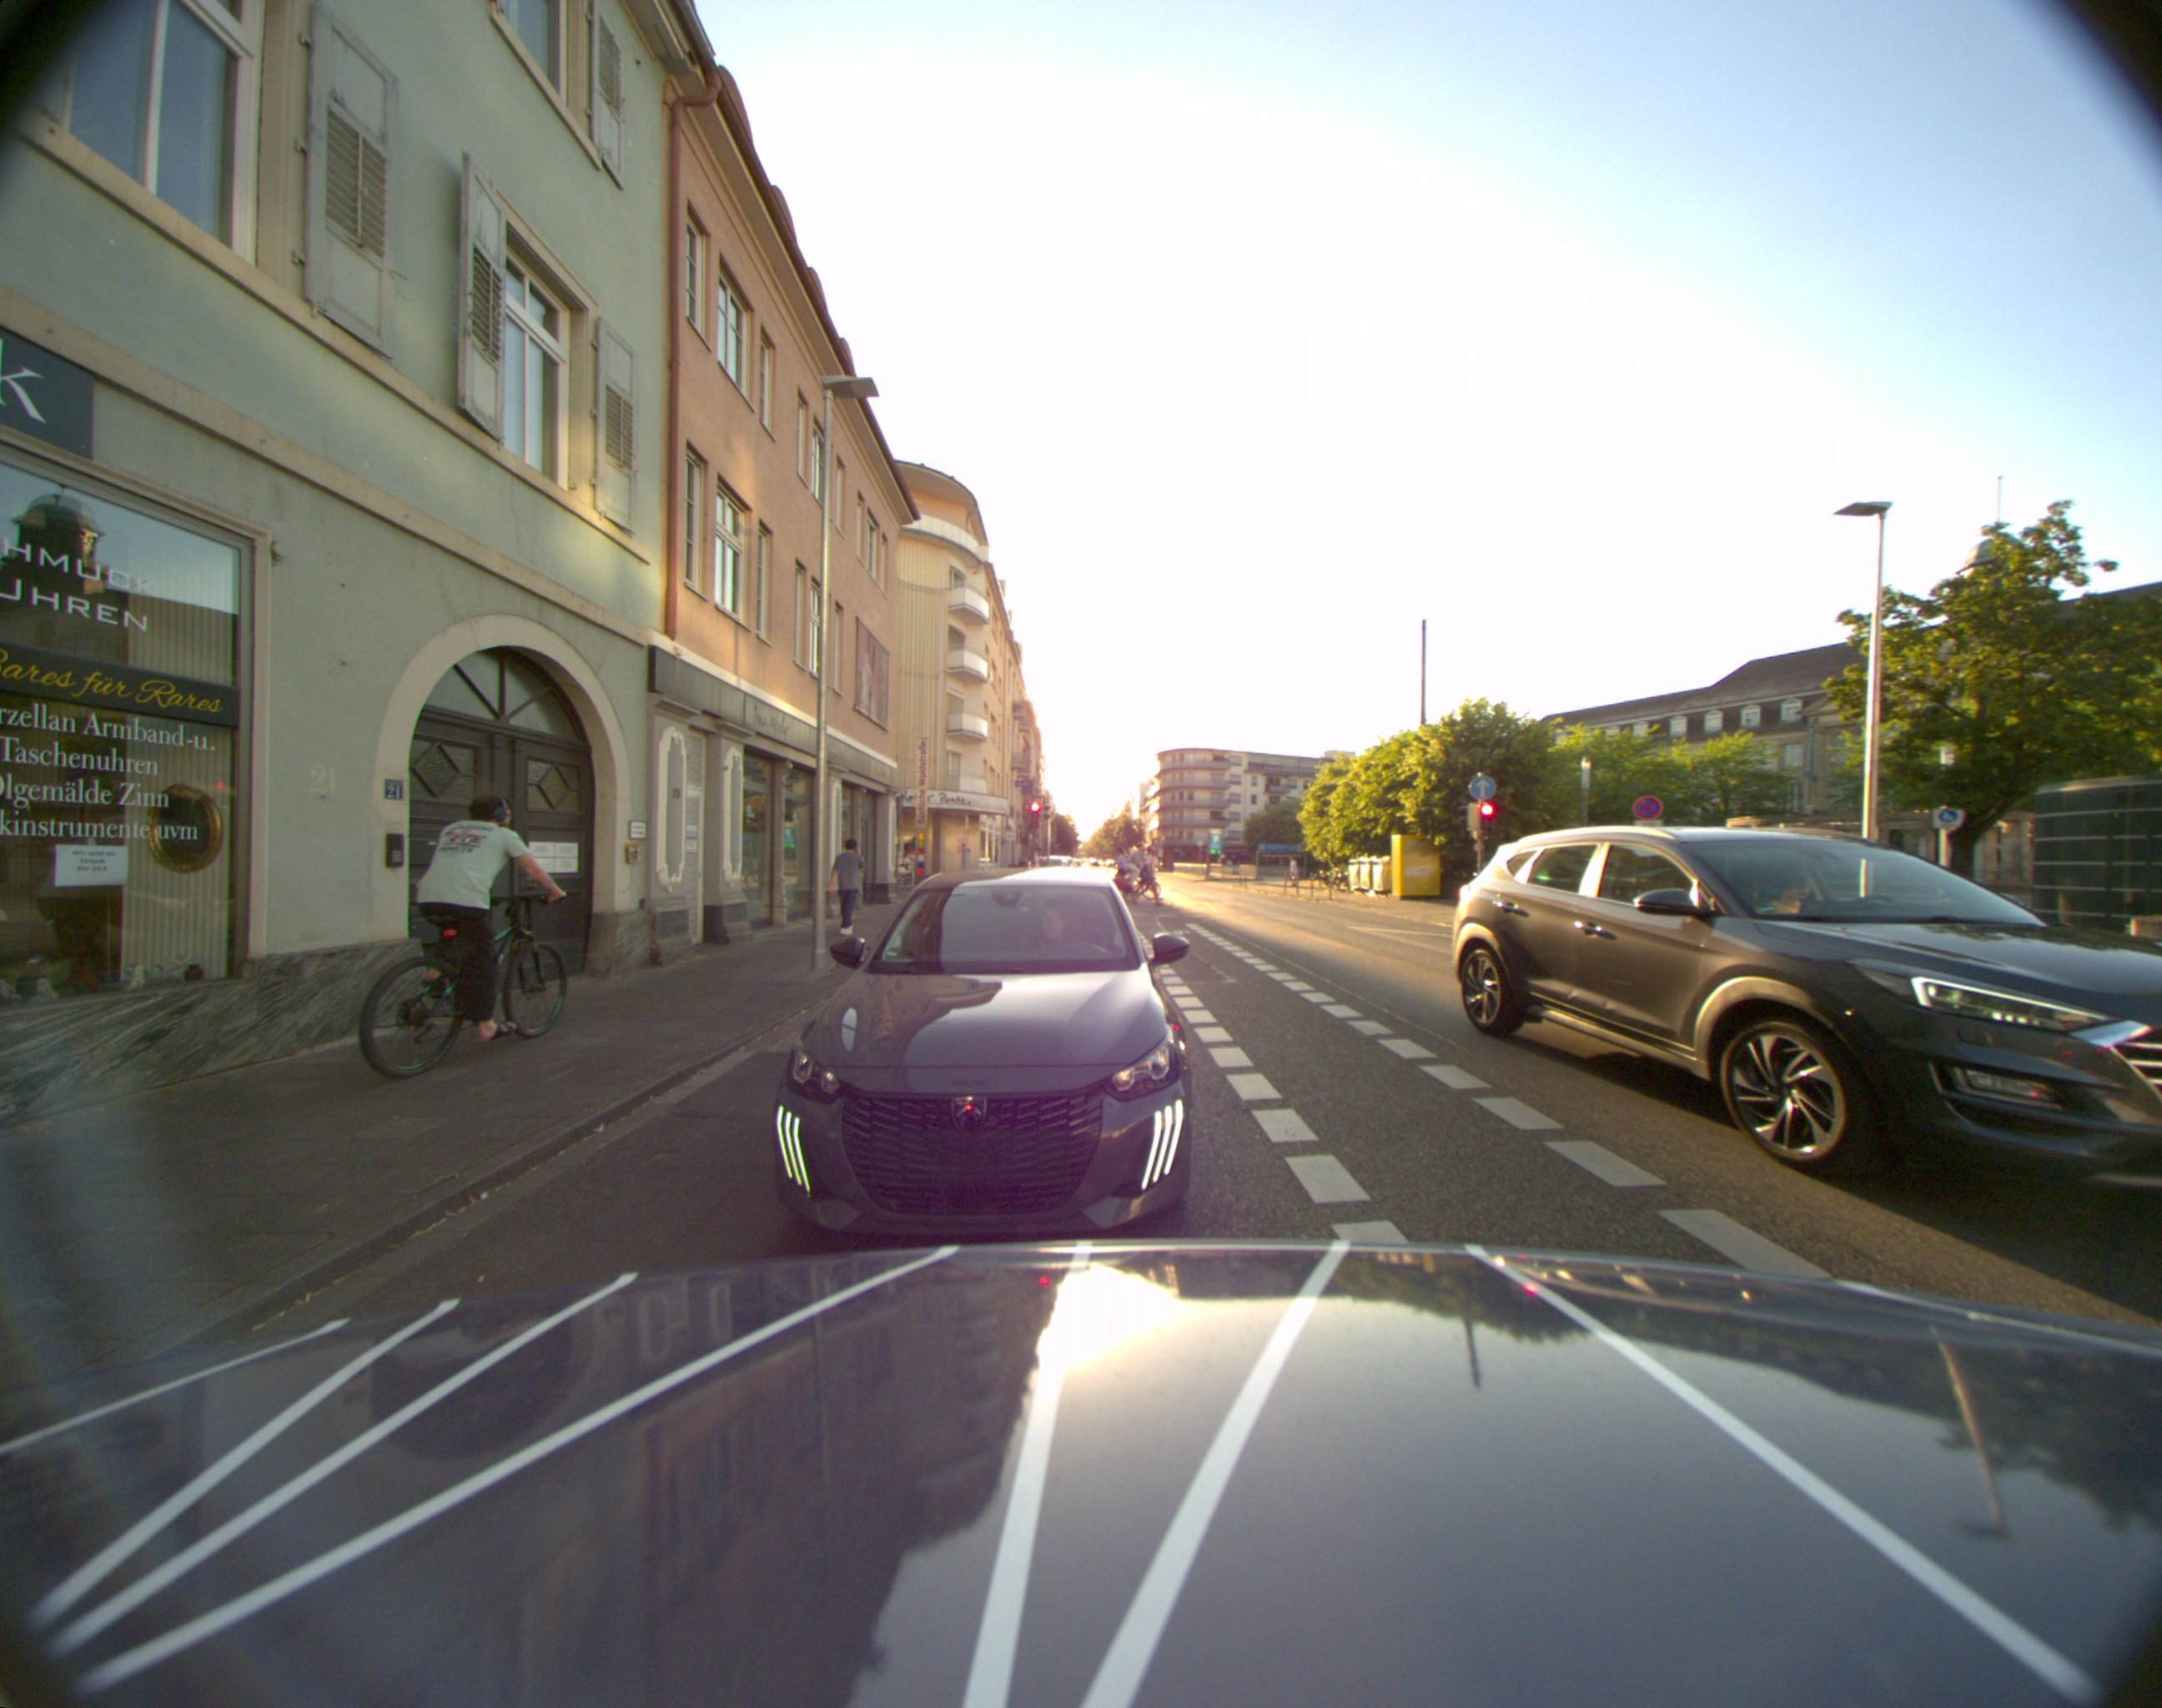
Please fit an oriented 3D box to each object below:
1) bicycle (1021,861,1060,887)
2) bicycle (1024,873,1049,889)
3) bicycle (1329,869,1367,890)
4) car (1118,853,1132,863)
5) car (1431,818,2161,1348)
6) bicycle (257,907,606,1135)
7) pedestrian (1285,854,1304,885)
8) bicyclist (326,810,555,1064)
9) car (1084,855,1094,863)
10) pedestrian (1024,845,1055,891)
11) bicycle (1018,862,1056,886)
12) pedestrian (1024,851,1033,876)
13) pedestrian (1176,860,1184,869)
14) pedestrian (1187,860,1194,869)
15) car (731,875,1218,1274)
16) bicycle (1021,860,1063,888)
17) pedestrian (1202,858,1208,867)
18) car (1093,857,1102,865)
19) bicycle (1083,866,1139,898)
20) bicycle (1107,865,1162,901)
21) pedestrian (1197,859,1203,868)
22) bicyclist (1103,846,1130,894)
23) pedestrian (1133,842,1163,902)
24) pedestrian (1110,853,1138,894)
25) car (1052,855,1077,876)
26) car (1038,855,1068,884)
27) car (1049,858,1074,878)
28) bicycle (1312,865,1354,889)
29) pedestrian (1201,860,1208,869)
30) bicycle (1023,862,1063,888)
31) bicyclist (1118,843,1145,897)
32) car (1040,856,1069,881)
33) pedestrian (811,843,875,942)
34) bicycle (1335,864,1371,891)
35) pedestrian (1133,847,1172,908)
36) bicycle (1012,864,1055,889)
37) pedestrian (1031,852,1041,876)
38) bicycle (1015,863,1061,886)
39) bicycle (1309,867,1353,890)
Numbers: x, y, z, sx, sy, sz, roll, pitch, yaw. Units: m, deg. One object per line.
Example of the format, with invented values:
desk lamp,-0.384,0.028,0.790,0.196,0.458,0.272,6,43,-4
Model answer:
bicycle,-1.946,0.962,36.488,1.788,1.166,0.622,2,0,-11
bicycle,-1.976,1.197,33.483,1.008,0.677,1.049,1,0,-9
bicycle,13.107,1.241,37.299,1.678,0.973,0.548,-1,0,-4
car,7.828,0.726,135.793,1.999,1.805,3.999,1,0,-2
car,4.115,0.763,4.638,1.877,1.679,4.450,2,0,0
bicycle,-4.109,0.969,5.059,0.692,1.100,1.896,1,0,0
pedestrian,12.662,0.901,44.993,0.950,1.806,0.827,1,0,22
bicyclist,-4.109,0.495,4.954,0.724,1.499,0.900,1,0,1
car,1.840,1.152,178.638,1.878,1.621,4.177,3,-1,-5
pedestrian,-1.680,0.560,30.747,0.828,1.806,0.869,0,1,-45
bicycle,-2.219,0.999,38.439,1.851,1.117,0.594,2,1,-11
pedestrian,-4.340,0.766,62.648,0.673,2.002,0.851,0,1,0
pedestrian,14.323,1.503,109.618,0.890,1.314,0.731,0,0,-27
pedestrian,15.818,1.525,109.824,0.887,1.185,0.733,0,0,9
car,-0.437,0.927,5.217,1.908,1.438,4.449,0,0,-1
bicycle,-1.808,0.926,35.108,1.849,1.232,0.639,1,0,-5
pedestrian,18.190,1.293,111.375,0.732,1.314,0.888,0,0,-2
car,3.548,1.511,163.348,1.790,1.458,3.956,2,0,-1
bicycle,1.111,1.033,27.984,1.917,1.111,0.706,1,0,17
bicycle,1.852,0.975,26.155,1.823,1.179,0.794,1,0,9
pedestrian,17.436,1.397,111.302,0.732,1.314,0.889,0,0,-1
bicyclist,1.311,0.577,27.901,0.777,1.714,0.856,1,0,15
pedestrian,2.154,0.576,24.453,0.940,1.886,0.826,1,0,4
pedestrian,1.766,0.773,31.039,0.789,1.643,0.782,1,1,43
car,-1.300,0.893,62.225,1.877,1.664,4.430,0,0,0
car,-1.635,0.880,44.774,1.702,1.607,4.682,0,0,-2
car,-1.409,1.016,56.597,1.738,1.448,4.610,0,0,1
bicycle,13.154,1.194,39.675,2.031,1.245,0.548,-1,0,-4
pedestrian,18.186,1.499,111.775,0.689,1.314,0.819,0,0,-24
bicycle,-1.810,0.974,35.856,1.788,1.166,0.622,2,0,-11
bicyclist,1.750,0.540,26.175,0.835,1.815,0.831,1,0,8
car,-1.740,0.923,51.051,1.821,1.611,4.203,0,0,0
pedestrian,-4.041,0.633,12.979,0.825,1.632,0.871,1,0,-2
bicycle,13.196,1.134,36.845,1.590,1.245,0.445,-1,0,-2
pedestrian,2.111,0.685,22.459,1.099,1.764,0.826,1,0,5
bicycle,-2.139,1.004,34.171,1.788,1.057,0.718,2,0,-11
pedestrian,-3.759,0.820,62.862,0.763,2.002,0.851,0,0,0
bicycle,-2.125,1.010,37.440,2.176,1.069,0.805,2,0,-7
bicycle,12.466,1.217,37.946,2.031,1.128,0.548,-1,0,-4
